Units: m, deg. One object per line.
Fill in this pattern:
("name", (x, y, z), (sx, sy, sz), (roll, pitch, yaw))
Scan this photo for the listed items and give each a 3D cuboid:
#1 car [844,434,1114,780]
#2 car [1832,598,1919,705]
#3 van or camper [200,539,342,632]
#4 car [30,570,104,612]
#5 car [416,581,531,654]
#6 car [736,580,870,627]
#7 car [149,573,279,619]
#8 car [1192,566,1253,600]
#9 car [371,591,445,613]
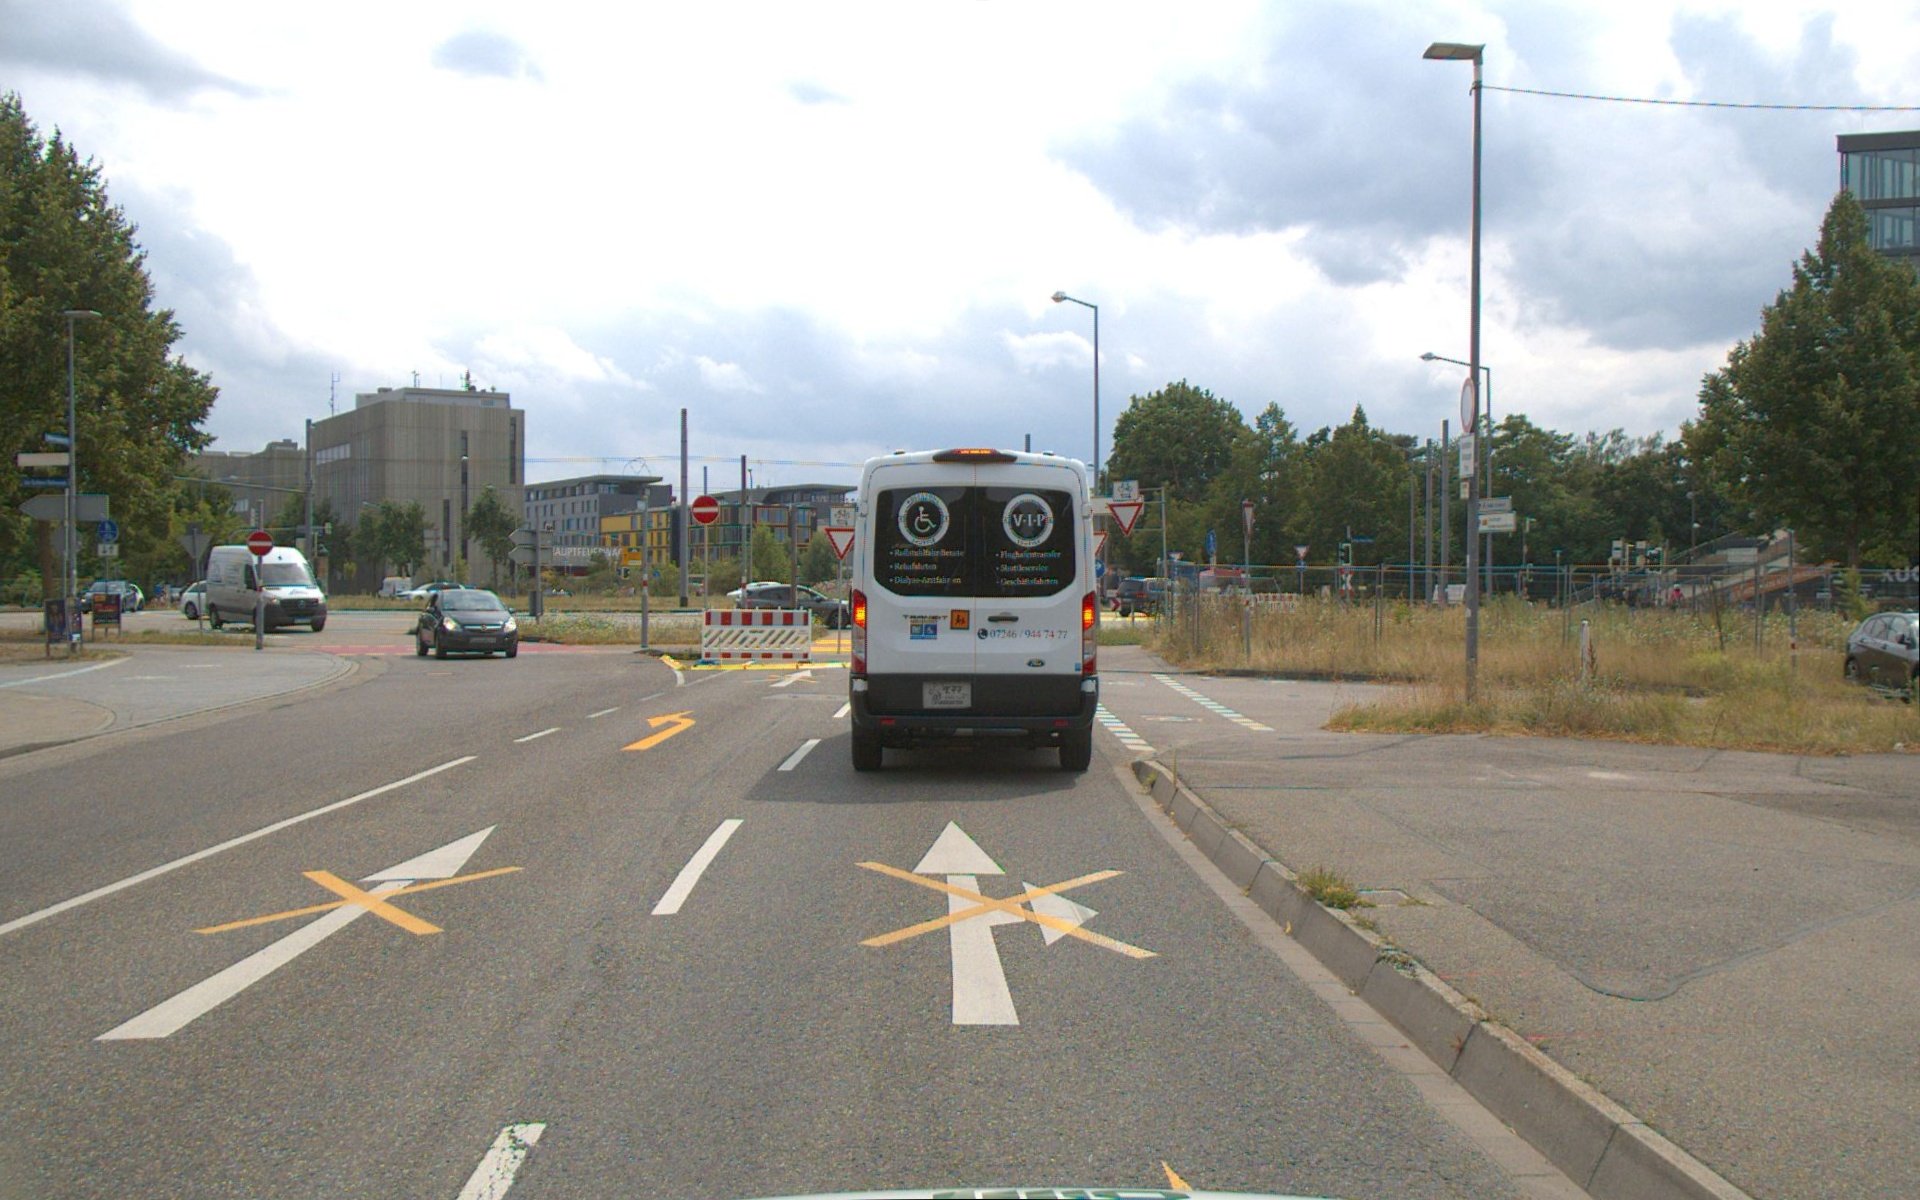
("car", (0.111, 0.030, 14.405), (2.021, 2.584, 3.999), (0, 0, -1))
("car", (15.622, 0.785, 26.146), (1.812, 1.523, 4.340), (-2, 1, 7))
("van or camper", (-21.946, -0.454, 52.536), (2.140, 2.772, 6.179), (-2, 1, -42))
("car", (-40.695, -0.382, 75.332), (1.985, 1.802, 3.935), (-2, 1, -44))
("car", (-10.727, 0.336, 36.313), (1.750, 1.504, 4.221), (0, 1, -26))
("car", (-5.226, 0.094, 54.940), (4.267, 1.377, 1.617), (-2, 1, -13))
("car", (-27.494, -0.164, 60.927), (4.933, 1.606, 1.861), (1, 1, 30))
("car", (15.122, -1.006, 95.367), (1.972, 1.848, 4.398), (-2, 1, -12))
("car", (-33.659, 0.114, 100.944), (3.960, 1.213, 1.663), (-2, 1, -38))
